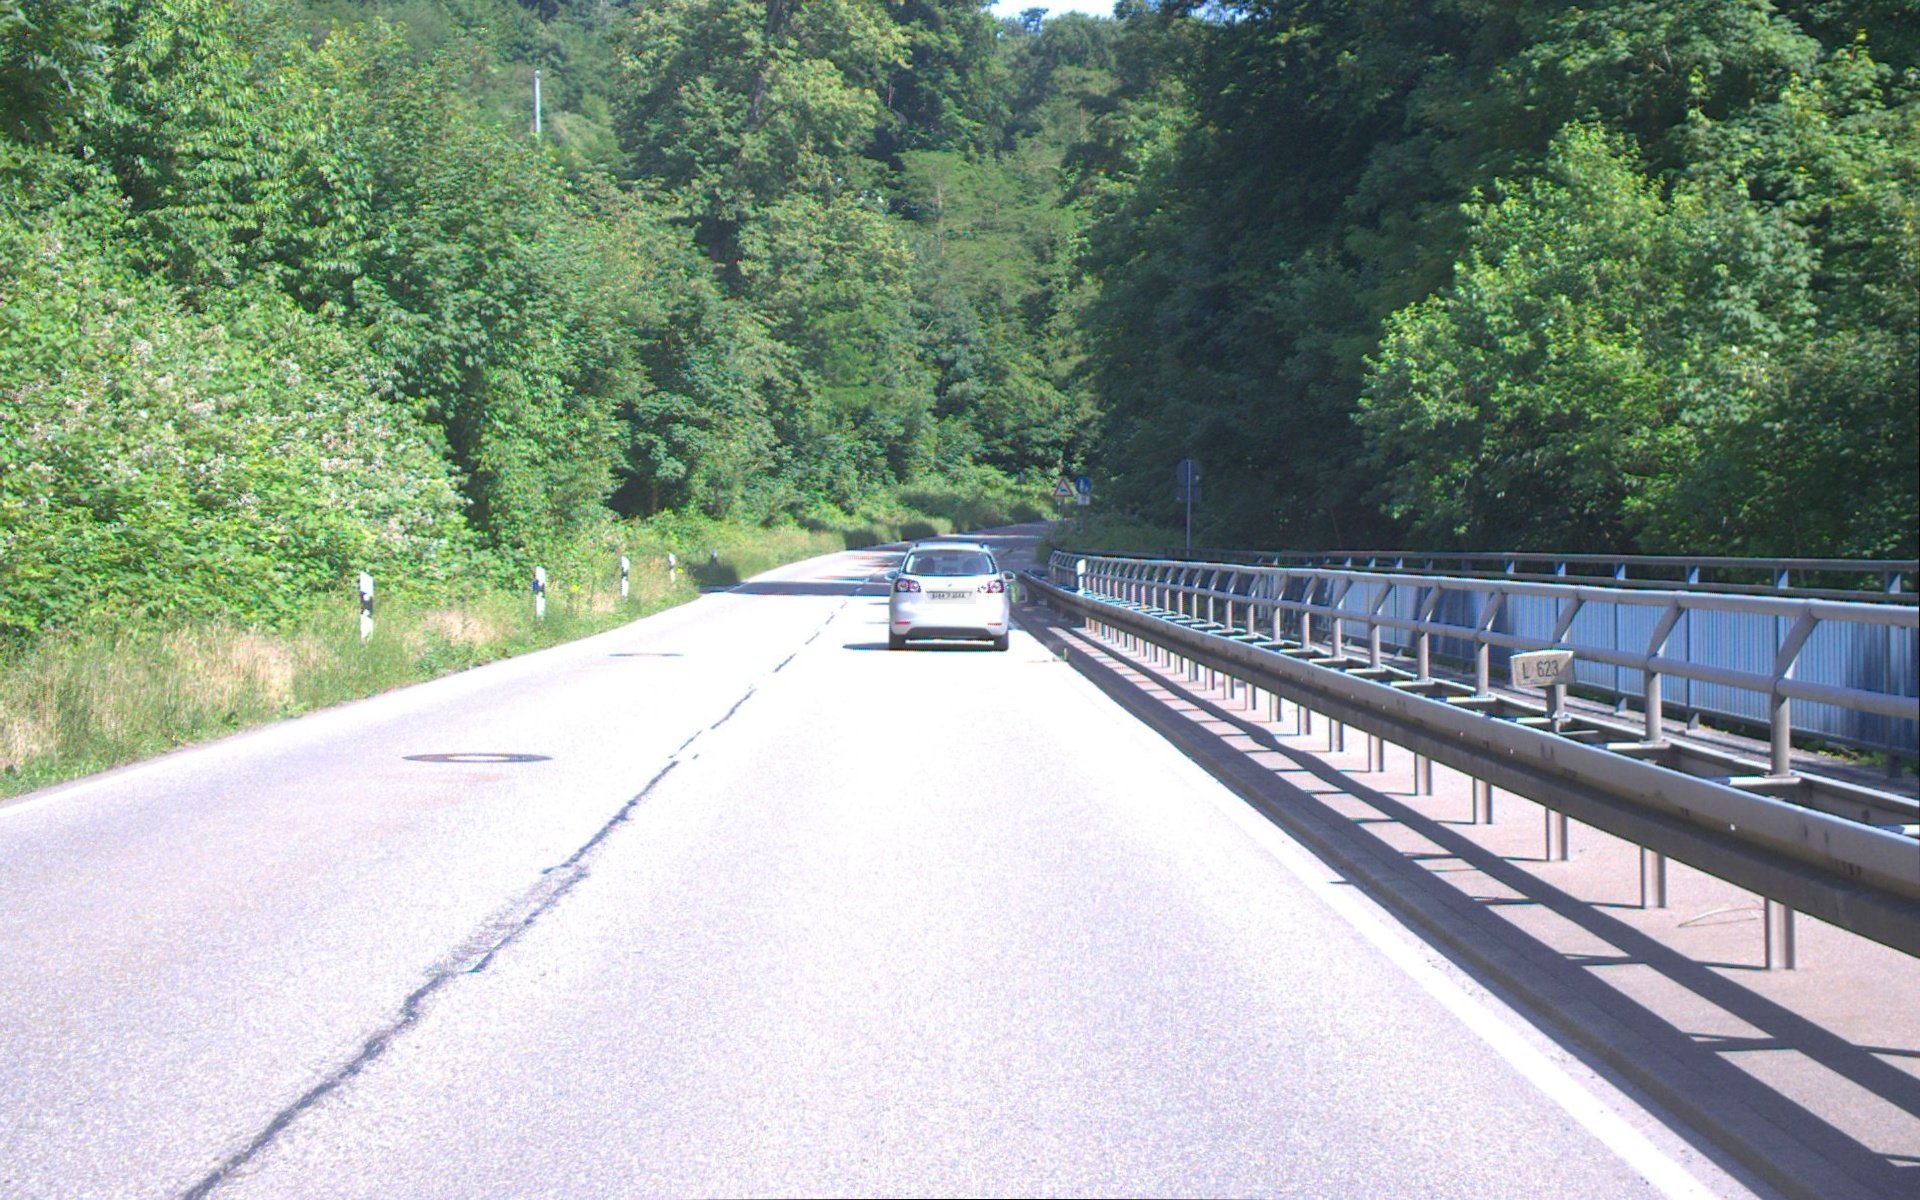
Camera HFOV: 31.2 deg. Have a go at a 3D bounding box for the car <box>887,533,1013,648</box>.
[{"bbox_3d":[-0.174,-0.173,50.582,1.751,1.514,4.160,1,2,-1],"label":"car"}]
